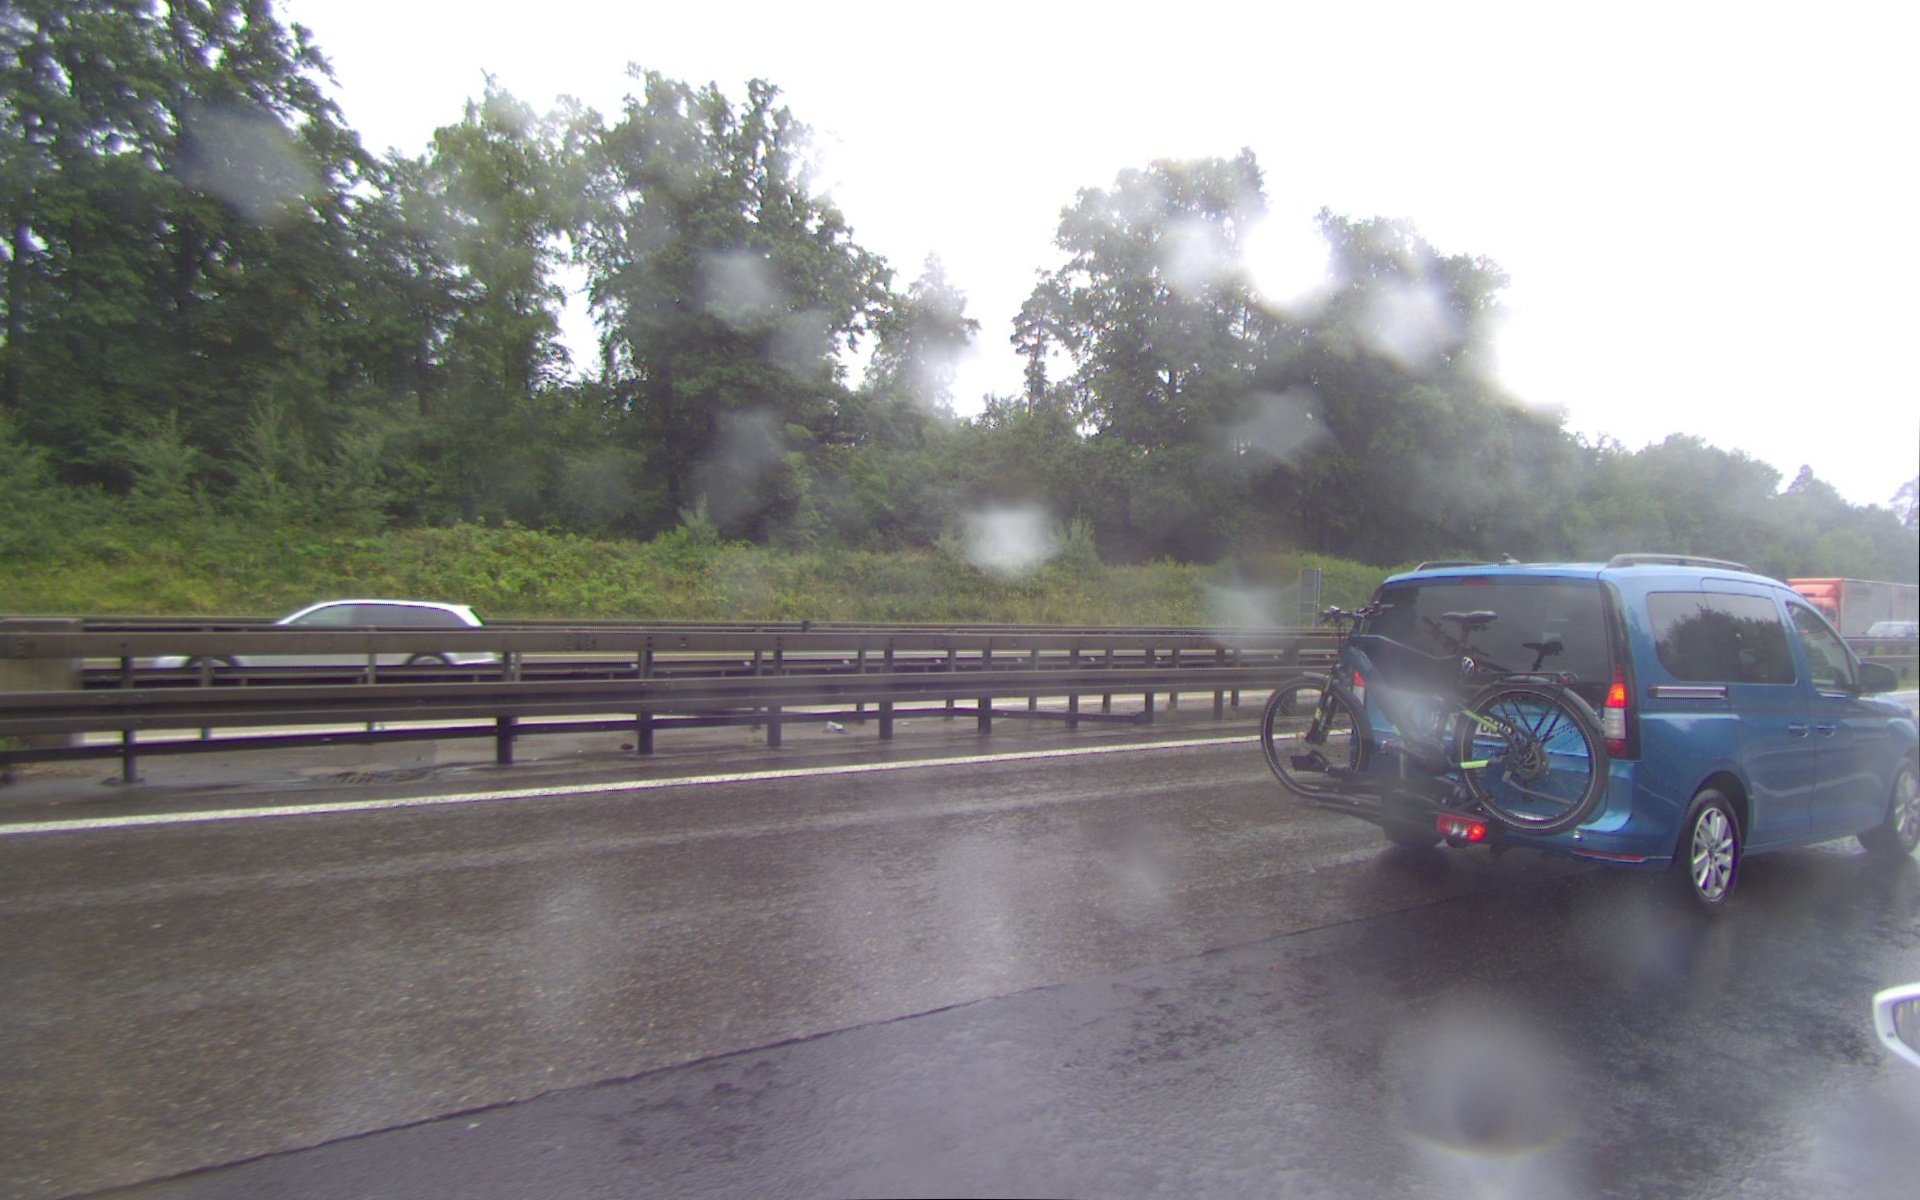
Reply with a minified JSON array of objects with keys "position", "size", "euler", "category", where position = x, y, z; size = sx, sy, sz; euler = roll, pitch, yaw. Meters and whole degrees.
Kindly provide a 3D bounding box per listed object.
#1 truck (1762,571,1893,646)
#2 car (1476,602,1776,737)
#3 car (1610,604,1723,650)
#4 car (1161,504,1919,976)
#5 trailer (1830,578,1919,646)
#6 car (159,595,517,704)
[{"position":[49.144,0.544,56.789],"size":[9.913,3.984,2.690],"euler":[1,0,-31],"category":"truck"},{"position":[9.362,0.871,14.021],"size":[4.417,1.613,1.835],"euler":[1,0,-32],"category":"car"},{"position":[25.829,0.978,36.707],"size":[3.952,1.617,1.852],"euler":[1,0,-30],"category":"car"},{"position":[3.934,0.607,6.323],"size":[4.954,1.937,2.260],"euler":[1,0,-29],"category":"car"},{"position":[56.597,0.764,61.183],"size":[8.898,3.869,2.670],"euler":[1,0,-30],"category":"trailer"},{"position":[-9.616,0.718,15.906],"size":[4.557,1.517,1.826],"euler":[1,0,-32],"category":"car"}]
